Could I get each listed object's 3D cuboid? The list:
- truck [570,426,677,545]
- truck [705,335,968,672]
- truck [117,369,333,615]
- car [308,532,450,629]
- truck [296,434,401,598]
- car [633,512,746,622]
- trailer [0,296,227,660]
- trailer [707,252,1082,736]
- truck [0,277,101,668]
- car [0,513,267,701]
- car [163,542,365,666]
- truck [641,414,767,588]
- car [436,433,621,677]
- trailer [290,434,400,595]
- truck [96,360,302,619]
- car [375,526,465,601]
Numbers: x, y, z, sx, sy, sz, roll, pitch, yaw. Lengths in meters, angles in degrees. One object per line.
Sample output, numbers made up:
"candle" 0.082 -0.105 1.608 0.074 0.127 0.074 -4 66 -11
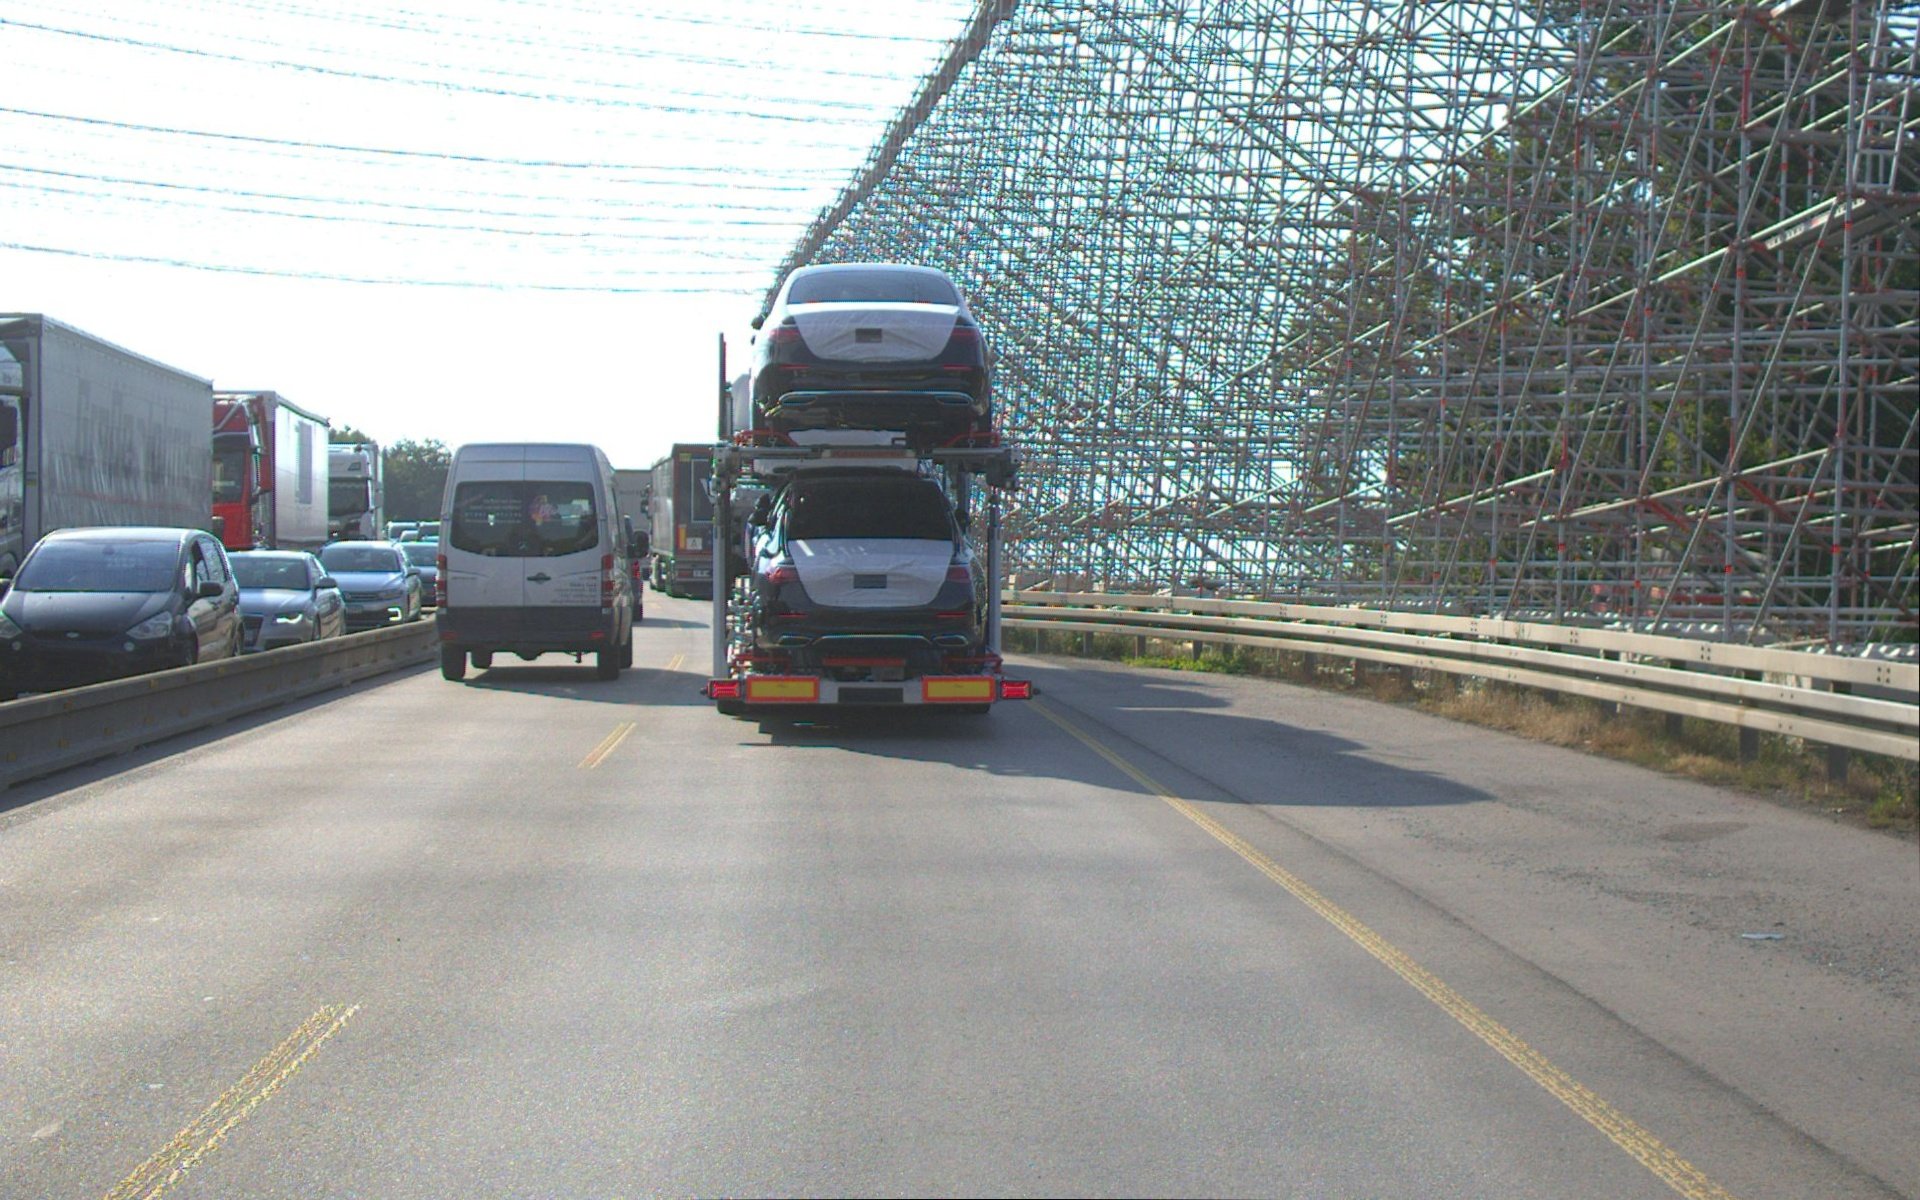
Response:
"truck" -13.047 -4.335 132.227 3.686 4.206 13.672 -3 2 -6
"truck" -1.622 -1.110 41.577 2.881 3.690 7.326 0 1 -4
"truck" -13.647 -1.913 64.853 2.786 4.127 13.811 0 1 -7
"car" -9.534 -0.347 56.679 1.732 1.434 4.839 3 1 -3
"truck" -16.321 -2.226 92.017 2.662 4.215 6.106 0 1 -9
"car" -5.142 -0.628 65.685 1.993 2.007 4.000 1 1 -3
"trailer" -12.223 -1.491 45.959 2.798 4.127 13.969 0 1 -4
"trailer" -1.052 -0.916 33.986 2.868 3.712 14.950 0 1 -4
"truck" -11.749 -1.397 39.210 2.787 4.127 5.935 0 1 -4
"car" -7.874 0.012 32.751 1.752 1.652 4.863 0 1 -2
"car" -8.523 0.004 42.441 1.731 1.373 4.892 2 1 -3
"truck" -7.092 -2.683 93.756 2.731 4.370 11.524 1 1 -7
"car" -4.856 -0.501 38.929 1.956 2.612 4.001 0 0 -6
"trailer" -17.529 -2.456 98.621 2.653 4.219 13.924 2 1 -9
"truck" -12.832 -1.809 58.437 2.786 4.127 6.681 0 1 -7
"car" -11.259 -0.783 71.835 1.650 1.459 4.401 2 1 -7
